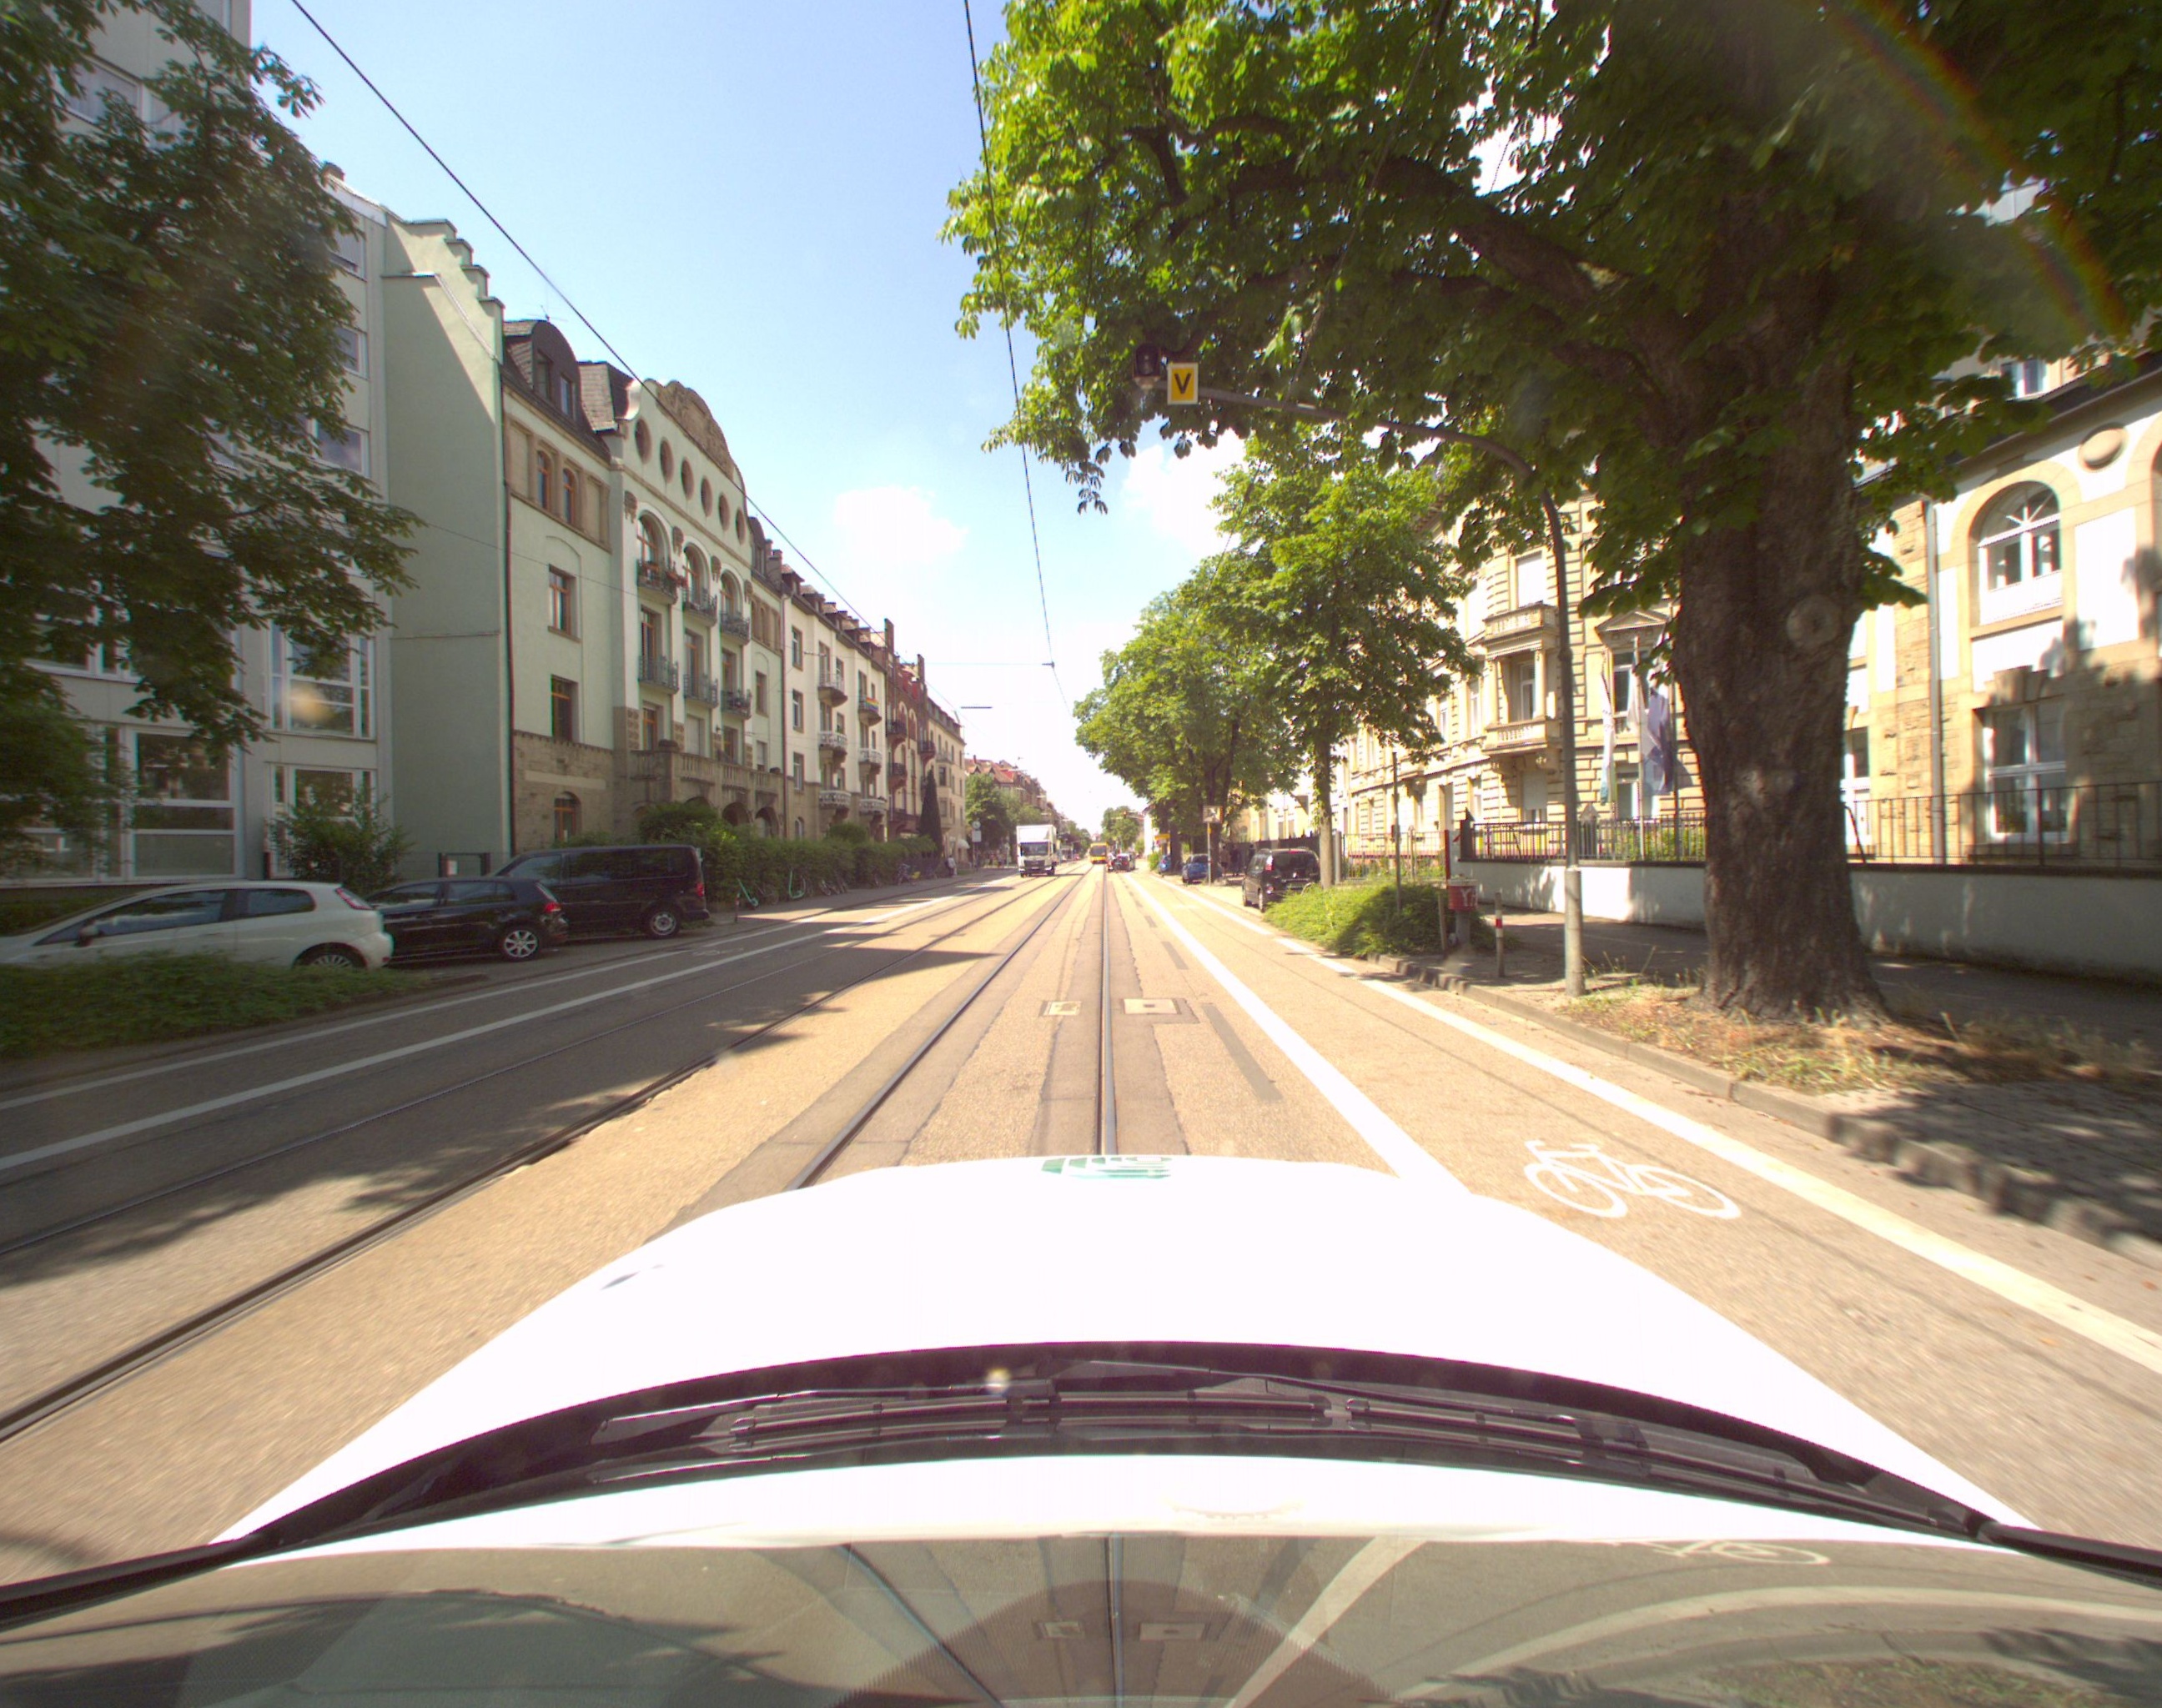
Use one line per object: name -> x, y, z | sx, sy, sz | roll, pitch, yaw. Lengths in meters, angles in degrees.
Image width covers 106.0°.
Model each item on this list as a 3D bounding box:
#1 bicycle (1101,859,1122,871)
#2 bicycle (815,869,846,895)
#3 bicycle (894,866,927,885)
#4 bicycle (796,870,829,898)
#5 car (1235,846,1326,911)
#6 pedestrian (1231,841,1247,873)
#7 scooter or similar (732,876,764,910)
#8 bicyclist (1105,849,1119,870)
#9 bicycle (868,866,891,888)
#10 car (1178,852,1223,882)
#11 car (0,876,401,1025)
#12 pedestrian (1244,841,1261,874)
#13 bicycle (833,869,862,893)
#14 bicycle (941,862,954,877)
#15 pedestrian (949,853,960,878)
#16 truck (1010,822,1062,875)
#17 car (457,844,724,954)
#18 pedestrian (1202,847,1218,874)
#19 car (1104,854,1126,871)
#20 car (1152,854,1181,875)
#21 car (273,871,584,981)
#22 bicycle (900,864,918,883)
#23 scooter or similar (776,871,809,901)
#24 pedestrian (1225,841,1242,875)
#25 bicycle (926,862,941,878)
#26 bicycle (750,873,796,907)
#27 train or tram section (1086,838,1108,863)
bicycle -> 2.365, 0.852, 63.211 | 0.644, 0.969, 1.761 | 1, -2, -36
bicycle -> -9.807, 1.092, 31.957 | 0.541, 0.969, 1.991 | 0, -1, 2
bicycle -> -8.678, 1.097, 41.525 | 0.538, 0.969, 1.792 | -1, -2, 31
bicycle -> -9.880, 1.090, 29.989 | 0.541, 0.969, 1.823 | 0, -1, 2
car -> 5.414, 0.631, 22.559 | 1.586, 1.616, 3.908 | -2, 0, 1
pedestrian -> 9.201, 0.194, 47.448 | 0.806, 1.860, 0.623 | -1, -2, -1
scooter or similar -> -9.977, 1.148, 24.400 | 0.541, 0.969, 0.958 | 0, 0, 2
bicyclist -> 2.408, 0.406, 63.170 | 0.627, 1.616, 0.855 | 1, -2, -36
bicycle -> -9.579, 1.067, 38.792 | 0.541, 0.969, 1.991 | 0, 1, 2
car -> 6.082, 0.660, 41.832 | 1.705, 1.423, 4.310 | -2, 0, 1
car -> -11.037, 1.077, 10.121 | 3.834, 1.456, 1.683 | -1, -1, -44
pedestrian -> 9.574, 0.208, 45.526 | 0.806, 1.860, 0.623 | -1, -2, -1
bicycle -> -9.721, 1.102, 33.991 | 0.541, 0.969, 1.990 | 0, -1, 2
bicycle -> -9.111, 1.062, 55.615 | 0.541, 0.969, 1.782 | 0, 1, 2
pedestrian -> -8.566, 0.778, 55.194 | 0.570, 1.615, 0.817 | -1, 0, 2
truck -> -3.156, -0.419, 59.539 | 2.928, 3.550, 8.456 | -2, 0, 2
car -> -9.954, 0.818, 16.731 | 4.508, 1.940, 1.685 | -1, -1, -37
pedestrian -> 7.470, 0.396, 47.048 | 0.802, 1.530, 0.626 | -2, -2, 19
car -> 2.806, 0.702, 67.814 | 1.774, 1.345, 3.417 | -1, 0, 2
car -> 6.259, 0.740, 59.981 | 1.705, 1.423, 4.310 | -2, 0, 1
car -> -10.586, 1.085, 13.505 | 3.831, 1.456, 1.615 | -1, -1, -39
bicycle -> -9.372, 1.066, 44.433 | 0.541, 0.969, 1.782 | 0, 1, 2
scooter or similar -> -10.019, 1.104, 28.305 | 0.541, 0.969, 1.500 | 0, 0, 2
pedestrian -> 8.651, 0.235, 46.168 | 0.806, 1.860, 0.576 | -1, -2, -1
bicycle -> -9.286, 1.005, 51.210 | 0.541, 0.969, 1.782 | 0, 0, 2
bicycle -> -9.954, 1.136, 26.409 | 0.541, 0.969, 2.250 | 0, 0, 2
train or tram section -> 2.522, -0.552, 122.352 | 3.023, 3.438, 11.976 | -1, 0, 2
